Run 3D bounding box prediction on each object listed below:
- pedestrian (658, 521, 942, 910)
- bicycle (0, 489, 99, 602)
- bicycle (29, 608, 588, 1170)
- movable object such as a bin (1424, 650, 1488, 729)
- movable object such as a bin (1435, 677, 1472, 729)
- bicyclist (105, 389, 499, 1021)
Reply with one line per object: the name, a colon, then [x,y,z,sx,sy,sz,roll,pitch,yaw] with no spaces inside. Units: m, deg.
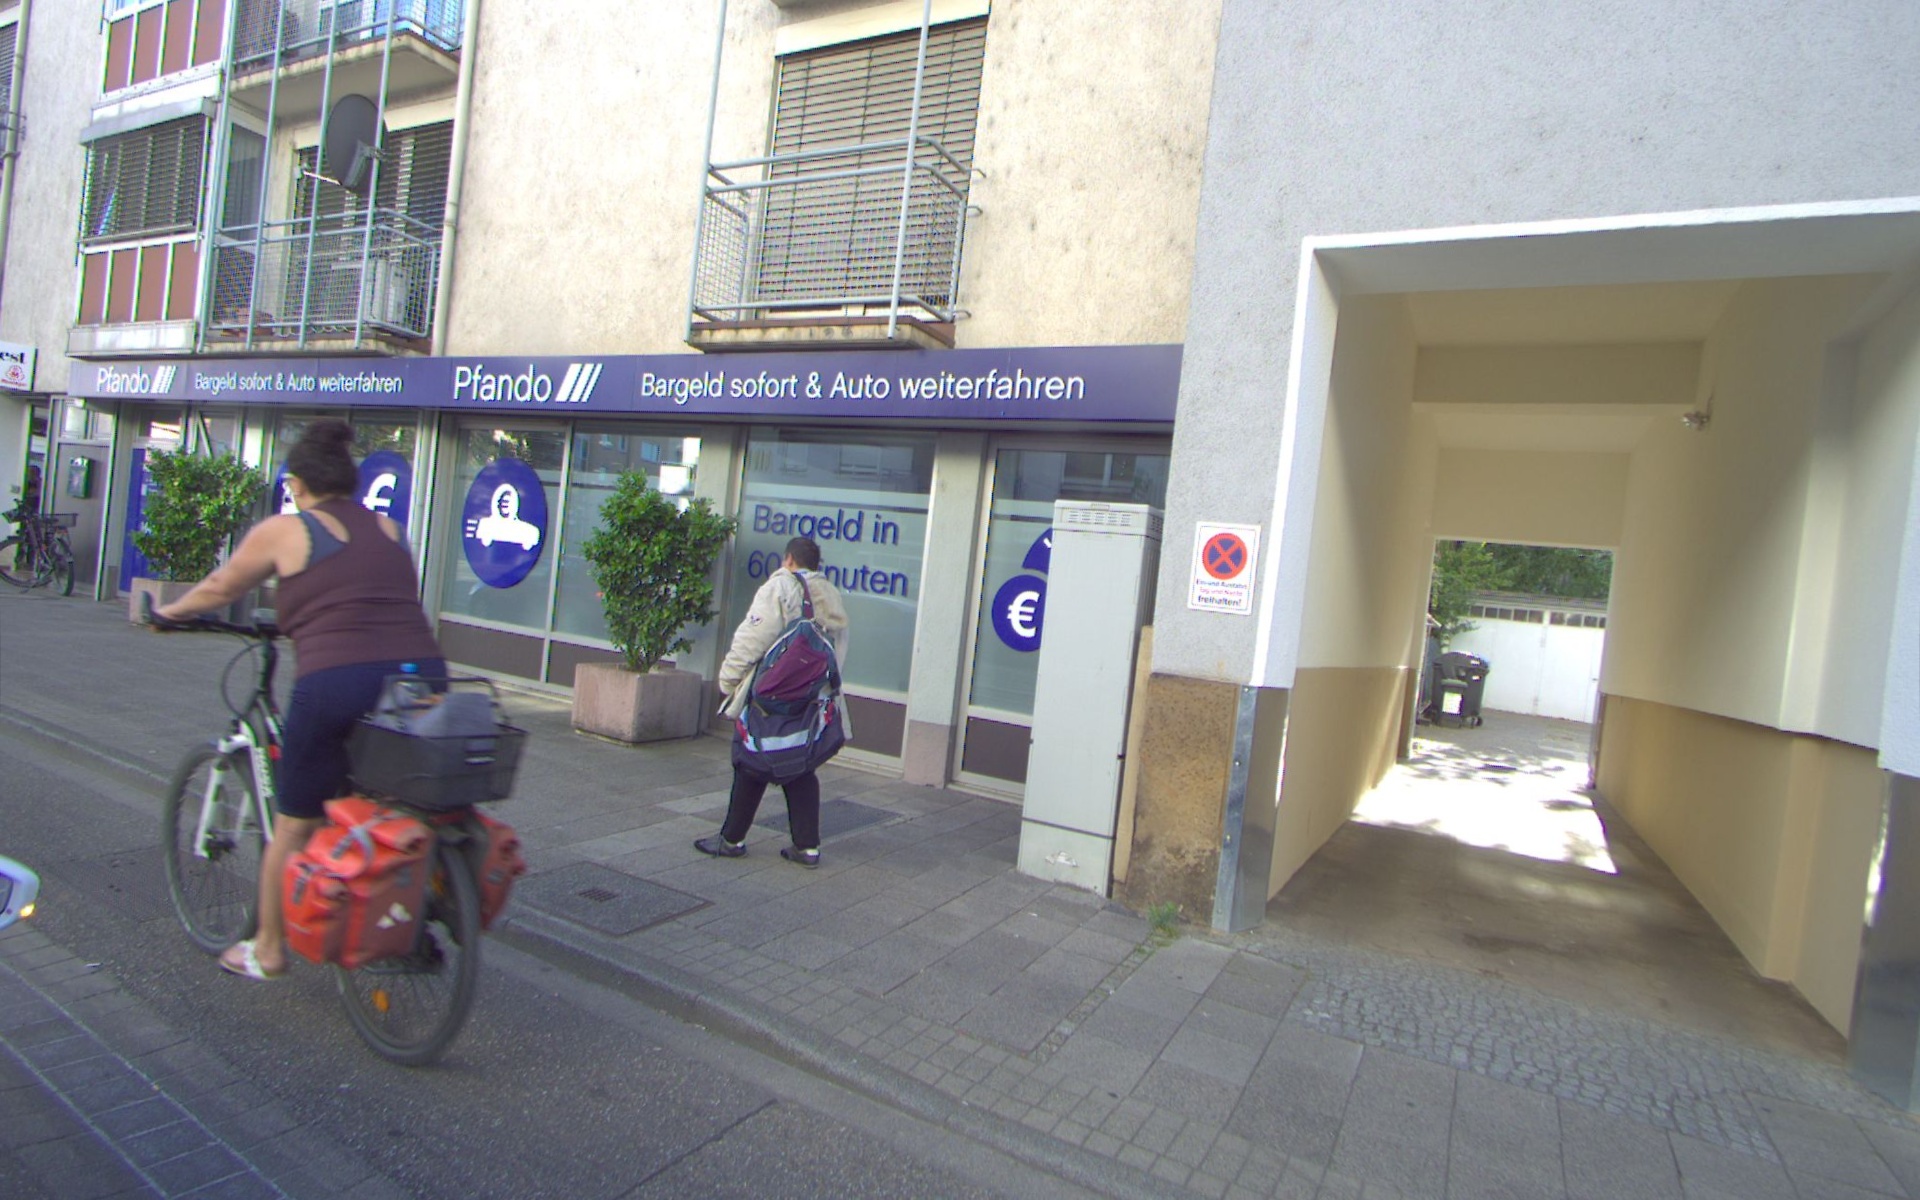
pedestrian: [-0.749,0.490,4.831,0.853,1.593,0.874,8,3,29]
bicycle: [-11.851,-0.725,12.886,1.879,1.280,0.640,7,1,32]
bicycle: [-2.058,0.697,3.080,1.855,1.117,0.617,7,1,31]
movable object such as a bin: [10.104,1.791,20.465,0.945,1.426,1.598,7,1,29]
movable object such as a bin: [9.553,1.983,19.462,0.518,0.922,0.580,7,1,29]
bicyclist: [-1.994,0.260,3.064,0.747,1.650,0.617,7,1,31]
